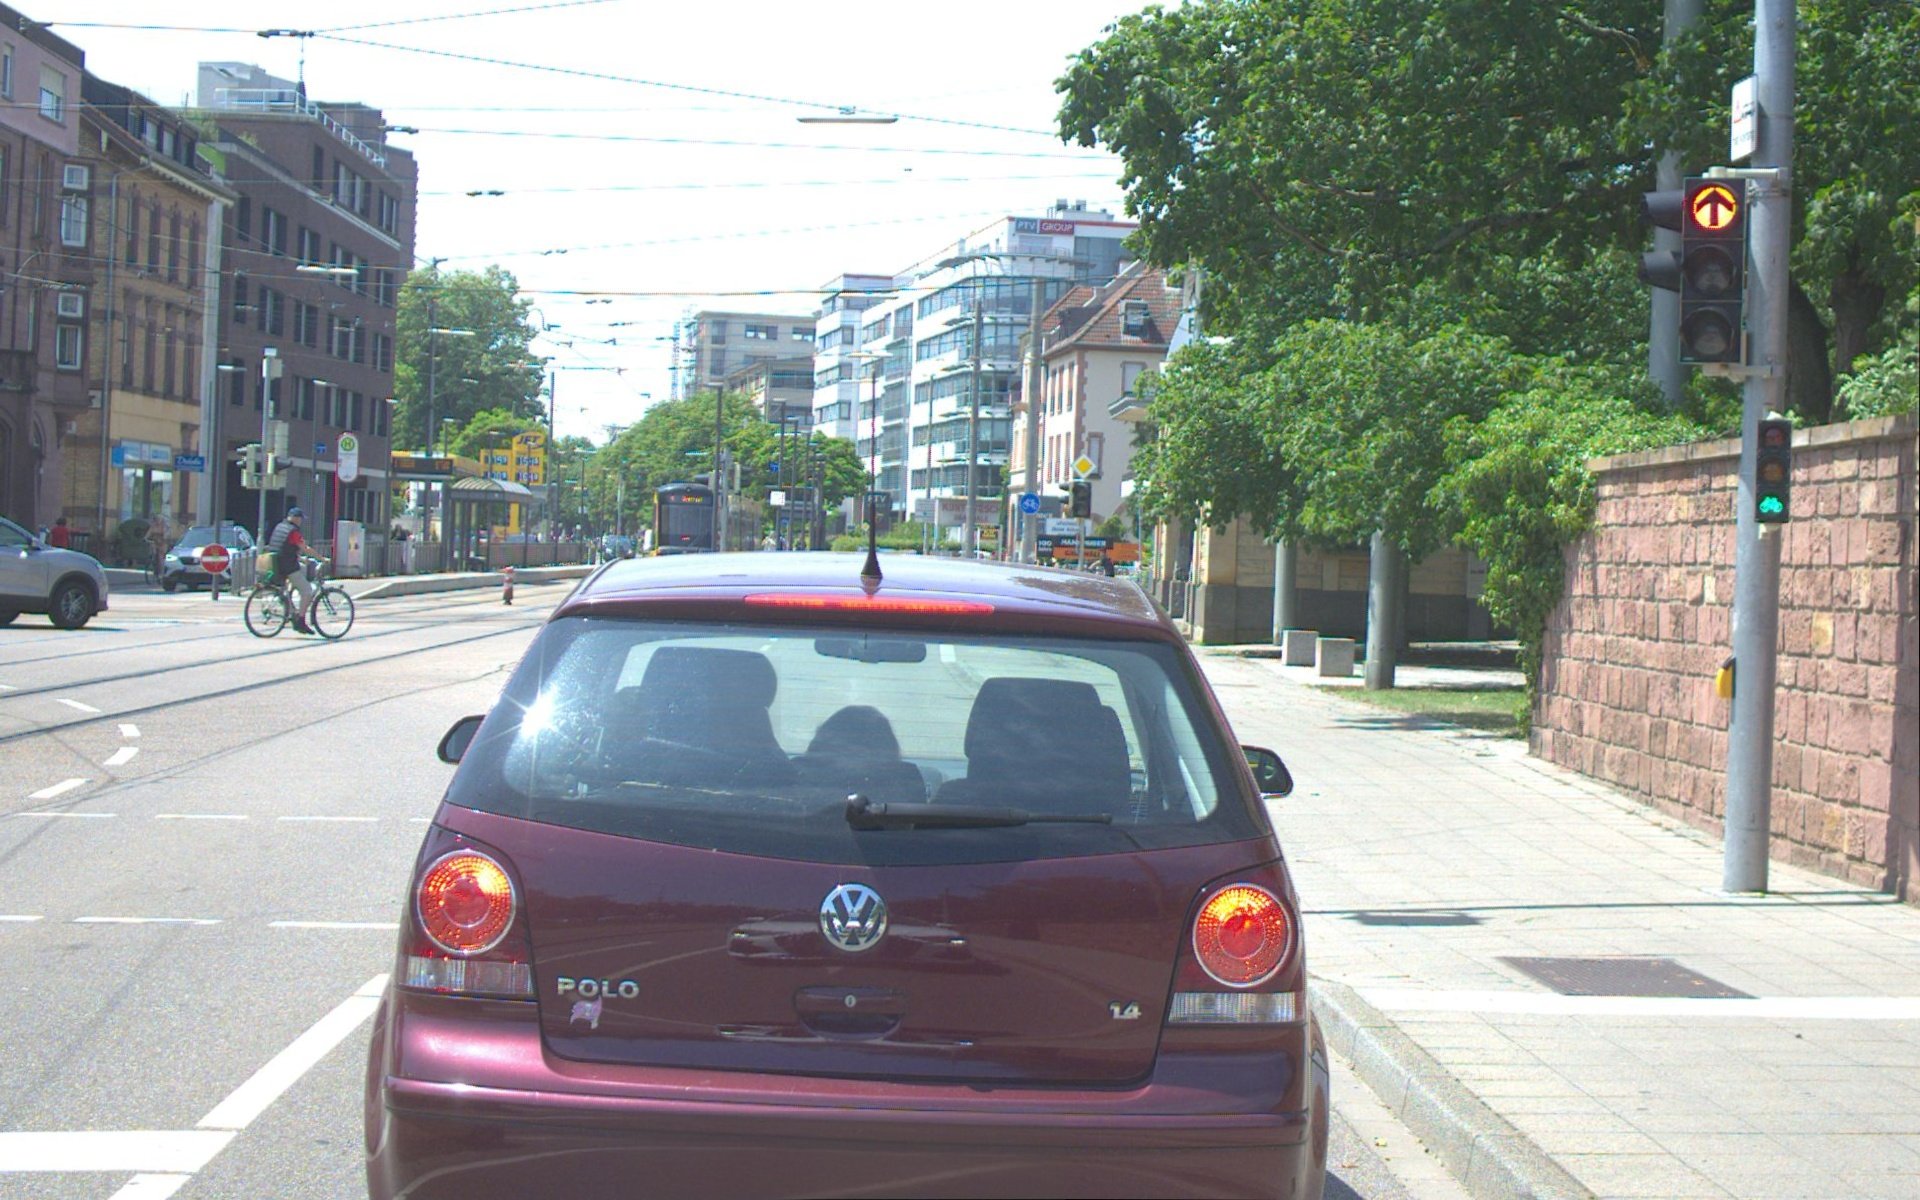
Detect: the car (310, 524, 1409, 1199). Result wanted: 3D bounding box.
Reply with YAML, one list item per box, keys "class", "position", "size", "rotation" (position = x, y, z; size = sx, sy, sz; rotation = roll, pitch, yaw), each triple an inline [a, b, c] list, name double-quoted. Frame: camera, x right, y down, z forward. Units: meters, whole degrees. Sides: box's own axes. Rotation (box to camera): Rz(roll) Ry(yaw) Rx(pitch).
- class: "car"
  position: [-0.226, 0.610, 7.198]
  size: [1.610, 1.458, 4.086]
  rotation: [2, 1, -2]

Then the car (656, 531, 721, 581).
- class: "car"
  position: [-9.182, -1.472, 116.365]
  size: [1.938, 1.635, 4.000]
  rotation: [1, 0, -1]

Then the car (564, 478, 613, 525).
- class: "car"
  position: [-16.580, -4.369, 153.368]
  size: [1.735, 2.007, 4.000]
  rotation: [2, 1, -1]

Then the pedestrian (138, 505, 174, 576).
- class: "pedestrian"
  position: [-20.329, -1.505, 86.901]
  size: [0.662, 1.781, 0.815]
  rotation: [2, 1, -1]

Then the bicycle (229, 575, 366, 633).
- class: "bicycle"
  position: [-9.089, 0.062, 47.207]
  size: [0.466, 0.780, 1.982]
  rotation: [1, 0, 41]

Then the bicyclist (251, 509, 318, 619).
- class: "bicyclist"
  position: [-9.242, -0.493, 47.046]
  size: [0.481, 1.496, 0.750]
  rotation: [1, 0, 41]

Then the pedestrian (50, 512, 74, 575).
- class: "pedestrian"
  position: [-21.981, -1.372, 84.130]
  size: [0.483, 1.535, 0.538]
  rotation: [1, 0, -7]

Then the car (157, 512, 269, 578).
- class: "car"
  position: [-17.552, -1.287, 80.943]
  size: [1.689, 1.457, 4.000]
  rotation: [2, 1, 1]

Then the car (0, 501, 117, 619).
- class: "car"
  position: [-13.782, -0.551, 46.785]
  size: [1.937, 1.579, 4.142]
  rotation: [1, 0, 39]
